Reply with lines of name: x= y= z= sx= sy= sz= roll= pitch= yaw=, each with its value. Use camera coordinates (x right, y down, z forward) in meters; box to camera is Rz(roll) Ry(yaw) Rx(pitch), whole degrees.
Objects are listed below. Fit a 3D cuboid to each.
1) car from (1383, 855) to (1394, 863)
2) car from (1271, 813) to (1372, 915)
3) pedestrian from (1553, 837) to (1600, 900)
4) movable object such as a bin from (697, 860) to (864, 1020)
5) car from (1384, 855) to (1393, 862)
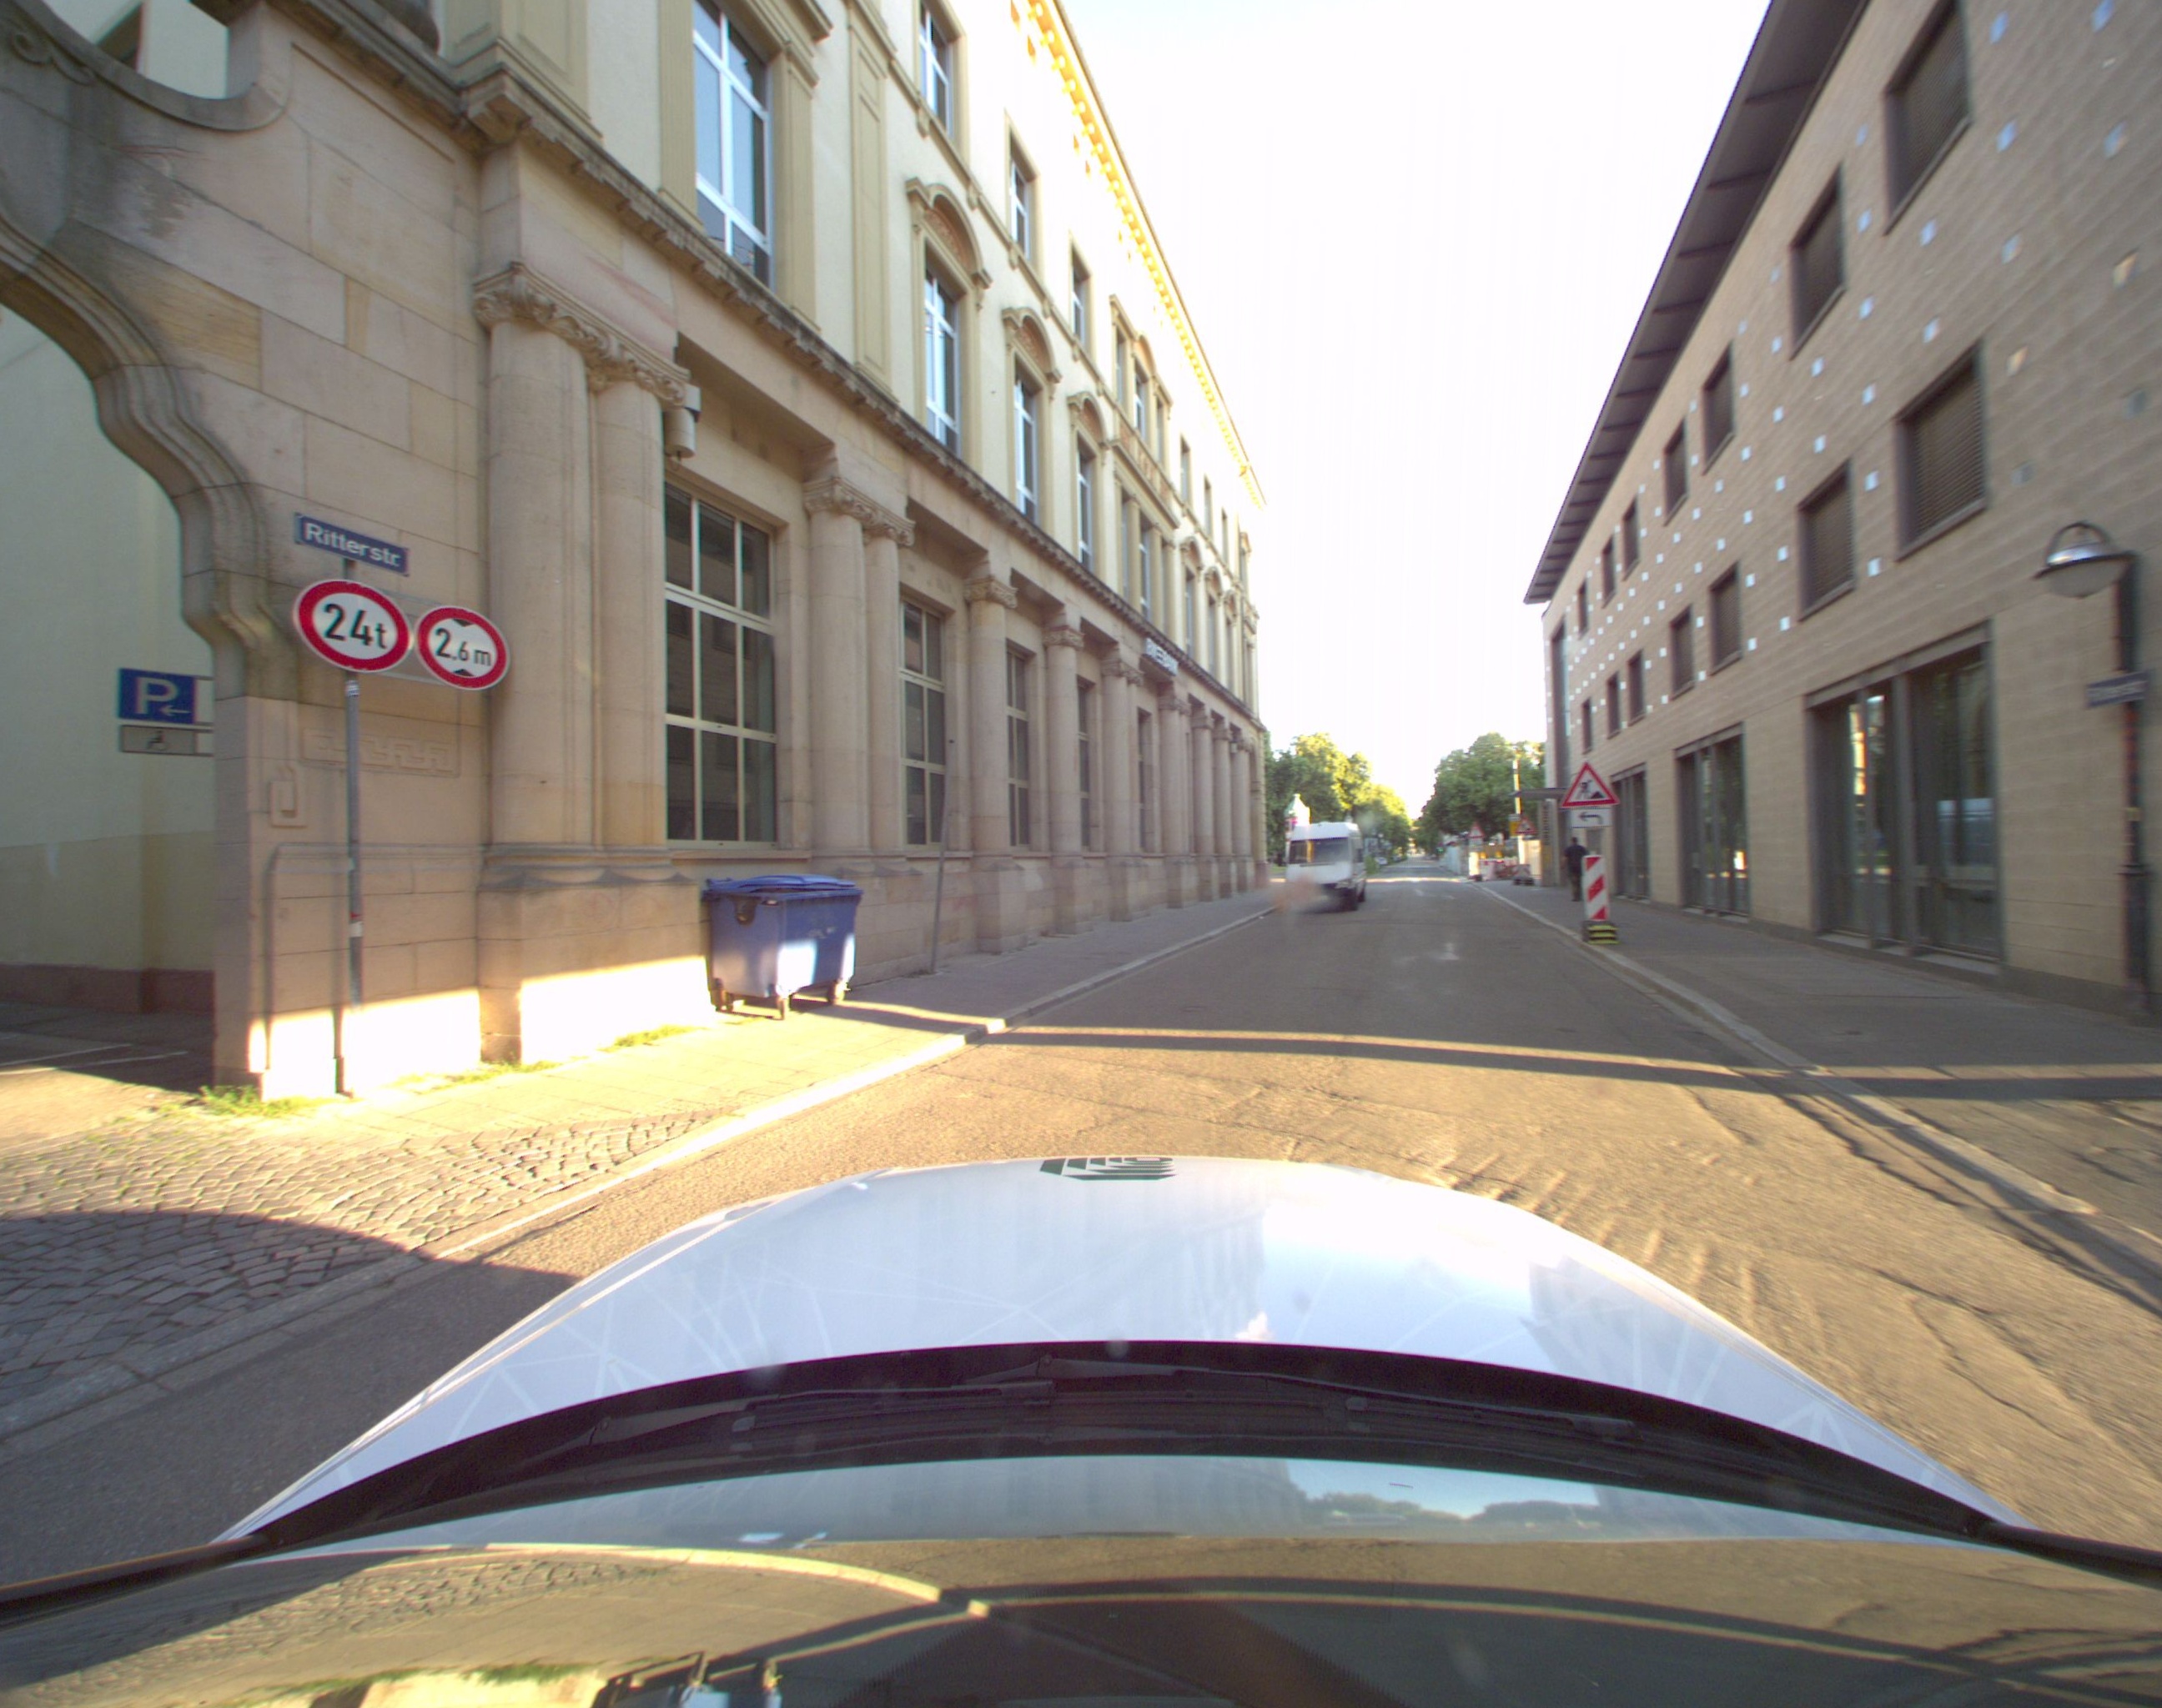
car: x=47.848 y=0.803 z=126.722 sx=1.455 sy=1.256 sz=3.698 roll=-1 pitch=0 yaw=22
car: x=7.327 y=0.265 z=24.279 sx=1.978 sy=2.512 sz=6.505 roll=-5 pitch=-2 yaw=23
pedestrian: x=13.719 y=0.399 z=22.567 sx=0.915 sy=1.702 sz=0.873 roll=-3 pitch=-1 yaw=22
movable object such as a bin: x=-3.033 y=0.802 z=8.307 sx=1.064 sy=1.474 sz=1.194 roll=0 pitch=0 yaw=26
car: x=56.864 y=0.818 z=150.379 sx=1.455 sy=1.404 sz=3.698 roll=-1 pitch=0 yaw=22
